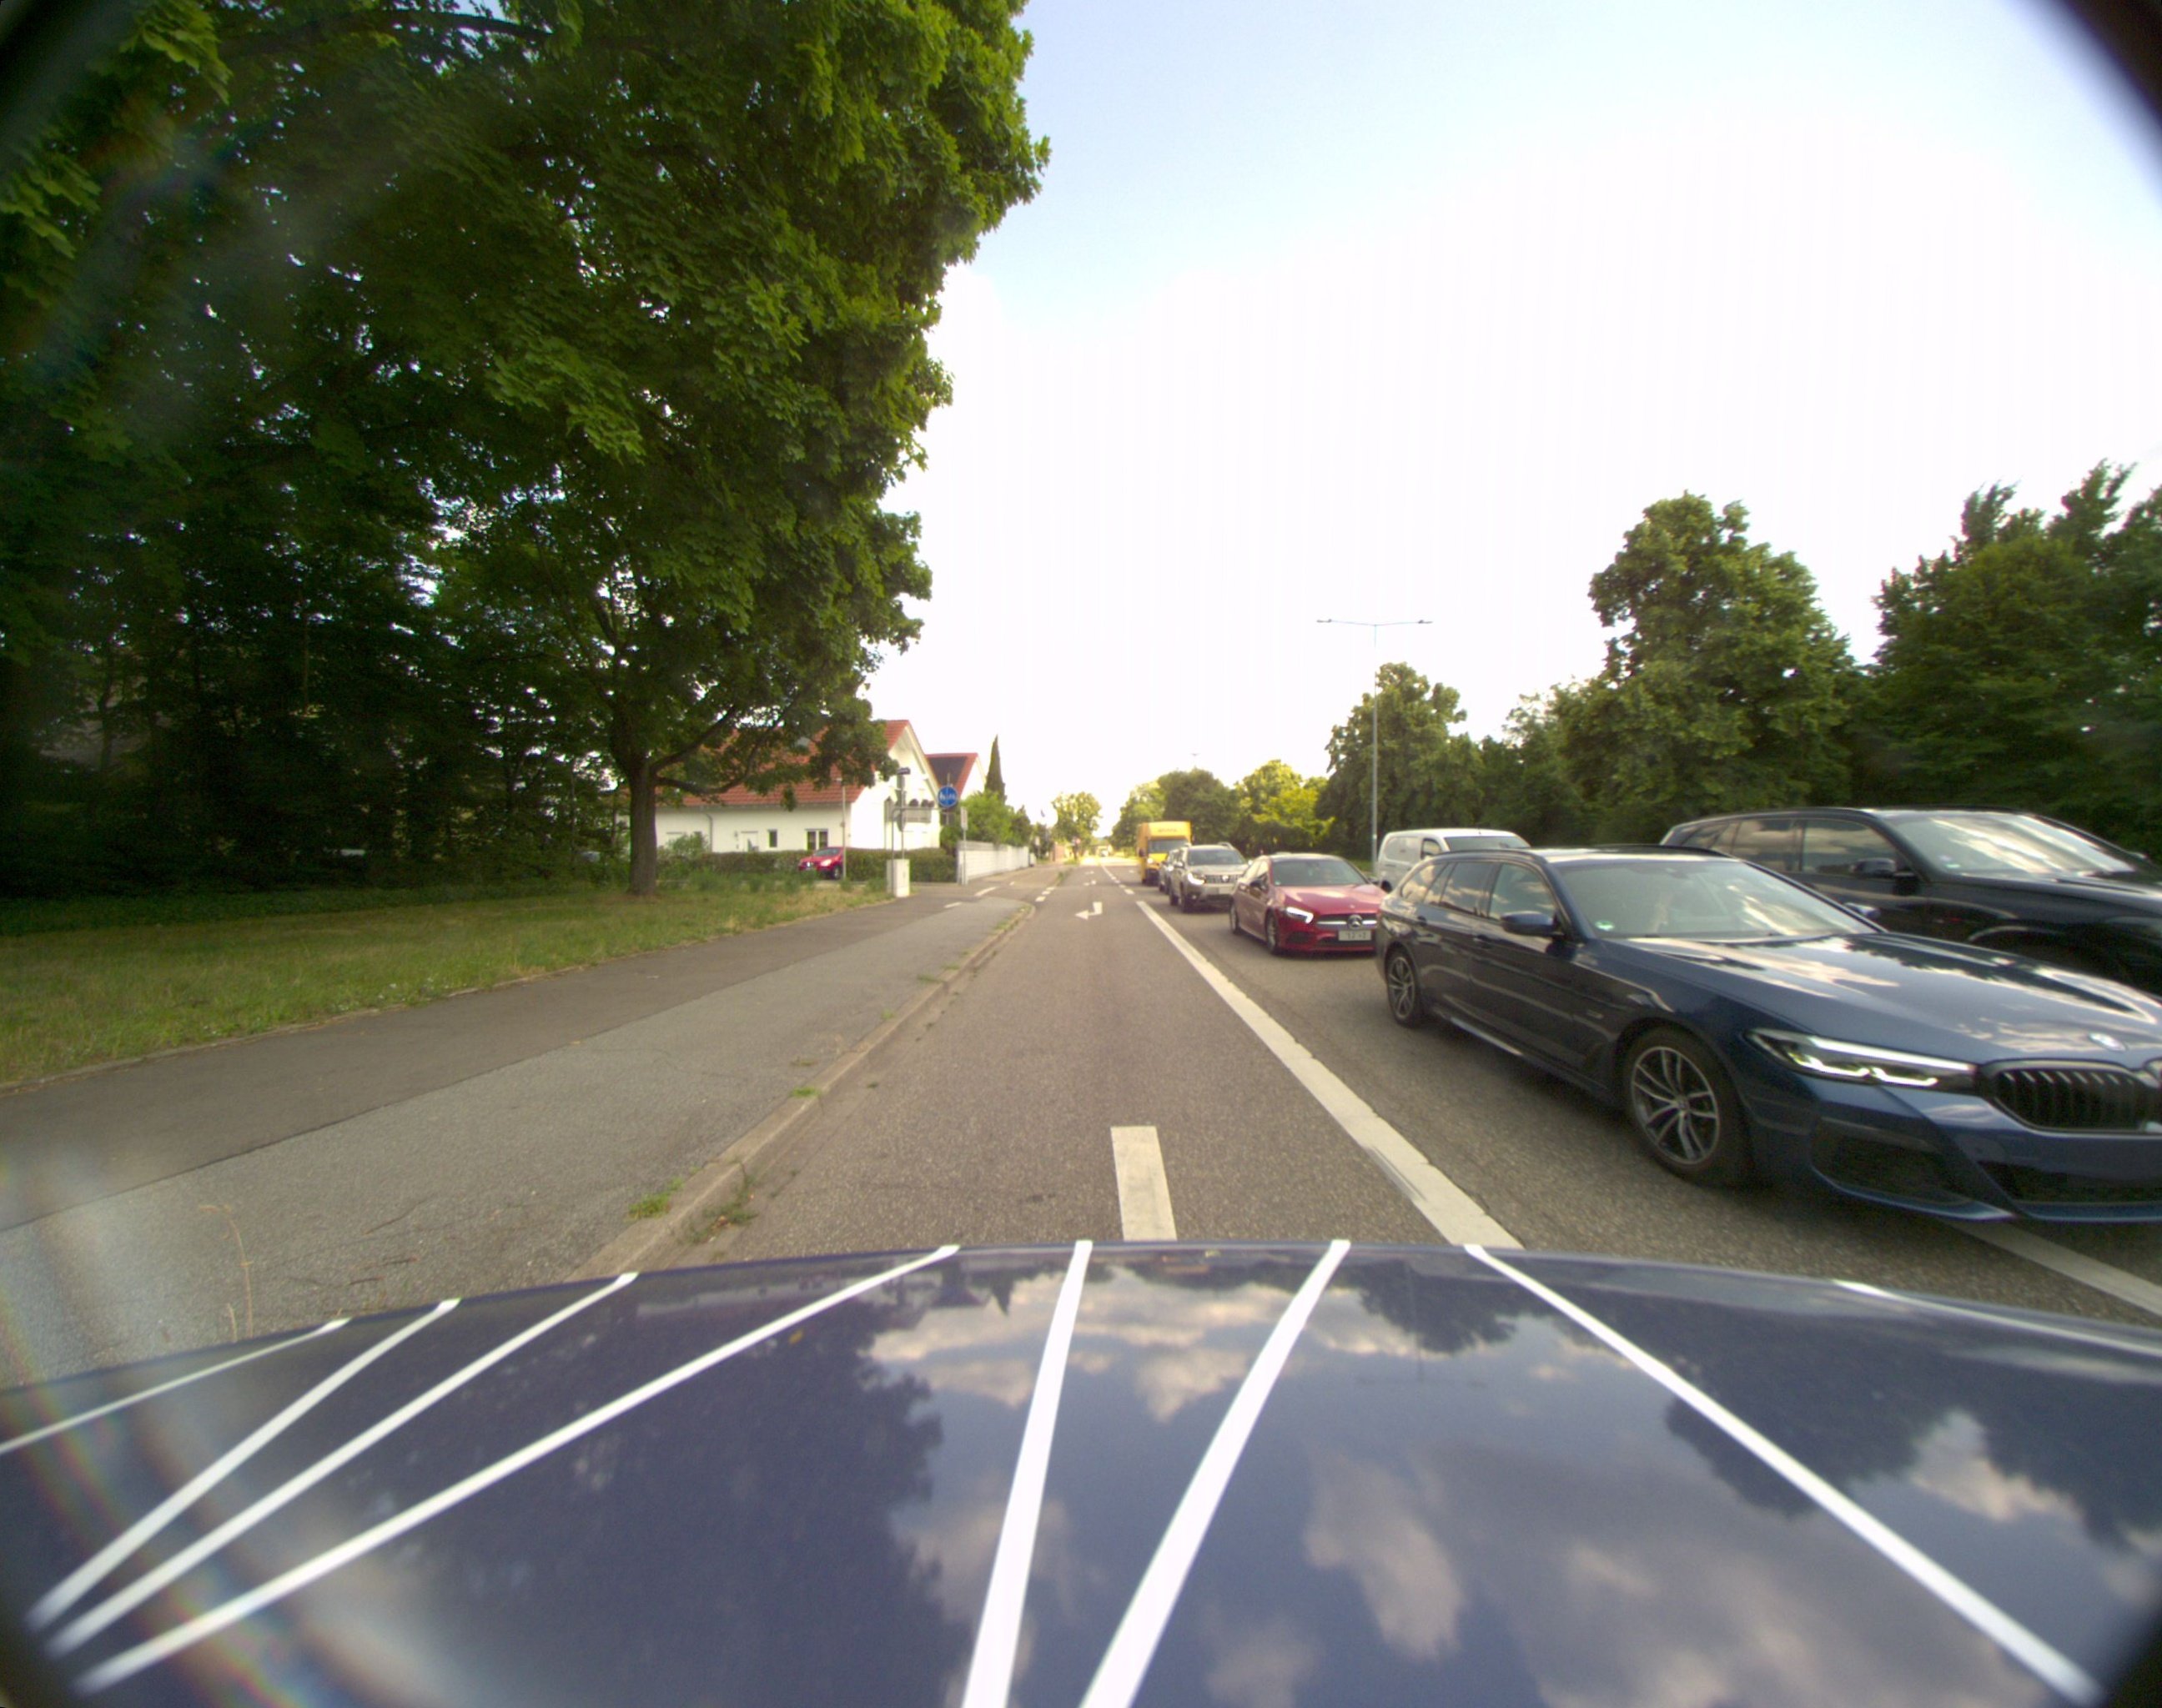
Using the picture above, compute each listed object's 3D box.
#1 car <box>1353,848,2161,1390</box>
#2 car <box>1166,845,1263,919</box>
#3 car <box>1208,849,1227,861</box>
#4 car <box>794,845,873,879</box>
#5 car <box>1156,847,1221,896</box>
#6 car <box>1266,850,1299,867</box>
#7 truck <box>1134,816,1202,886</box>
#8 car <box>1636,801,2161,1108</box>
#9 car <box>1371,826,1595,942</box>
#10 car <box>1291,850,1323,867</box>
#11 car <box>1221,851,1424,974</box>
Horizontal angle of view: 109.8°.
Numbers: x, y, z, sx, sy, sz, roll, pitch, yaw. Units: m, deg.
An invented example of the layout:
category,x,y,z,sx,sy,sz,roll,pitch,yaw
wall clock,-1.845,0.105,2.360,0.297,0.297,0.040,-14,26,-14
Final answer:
category,x,y,z,sx,sy,sz,roll,pitch,yaw
car,3.425,0.765,4.651,1.801,1.488,4.872,-2,1,1
car,3.209,0.601,19.037,1.727,1.602,4.175,-2,1,1
car,17.093,0.079,95.462,1.672,1.379,3.999,-2,1,1
car,-11.875,0.362,36.771,1.679,1.521,4.397,0,0,11
car,3.682,0.550,26.644,1.727,1.522,3.893,-2,1,1
car,16.585,0.351,62.752,1.672,1.416,4.238,0,0,1
truck,3.901,-0.143,35.379,2.363,2.843,6.966,-2,0,1
car,7.009,0.518,6.112,1.817,1.736,4.549,-1,1,1
car,7.243,0.436,14.345,1.770,1.788,4.730,-1,1,1
car,20.093,0.386,67.673,1.672,1.379,4.237,1,1,1
car,3.472,0.732,11.870,1.727,1.454,4.535,-2,1,1
